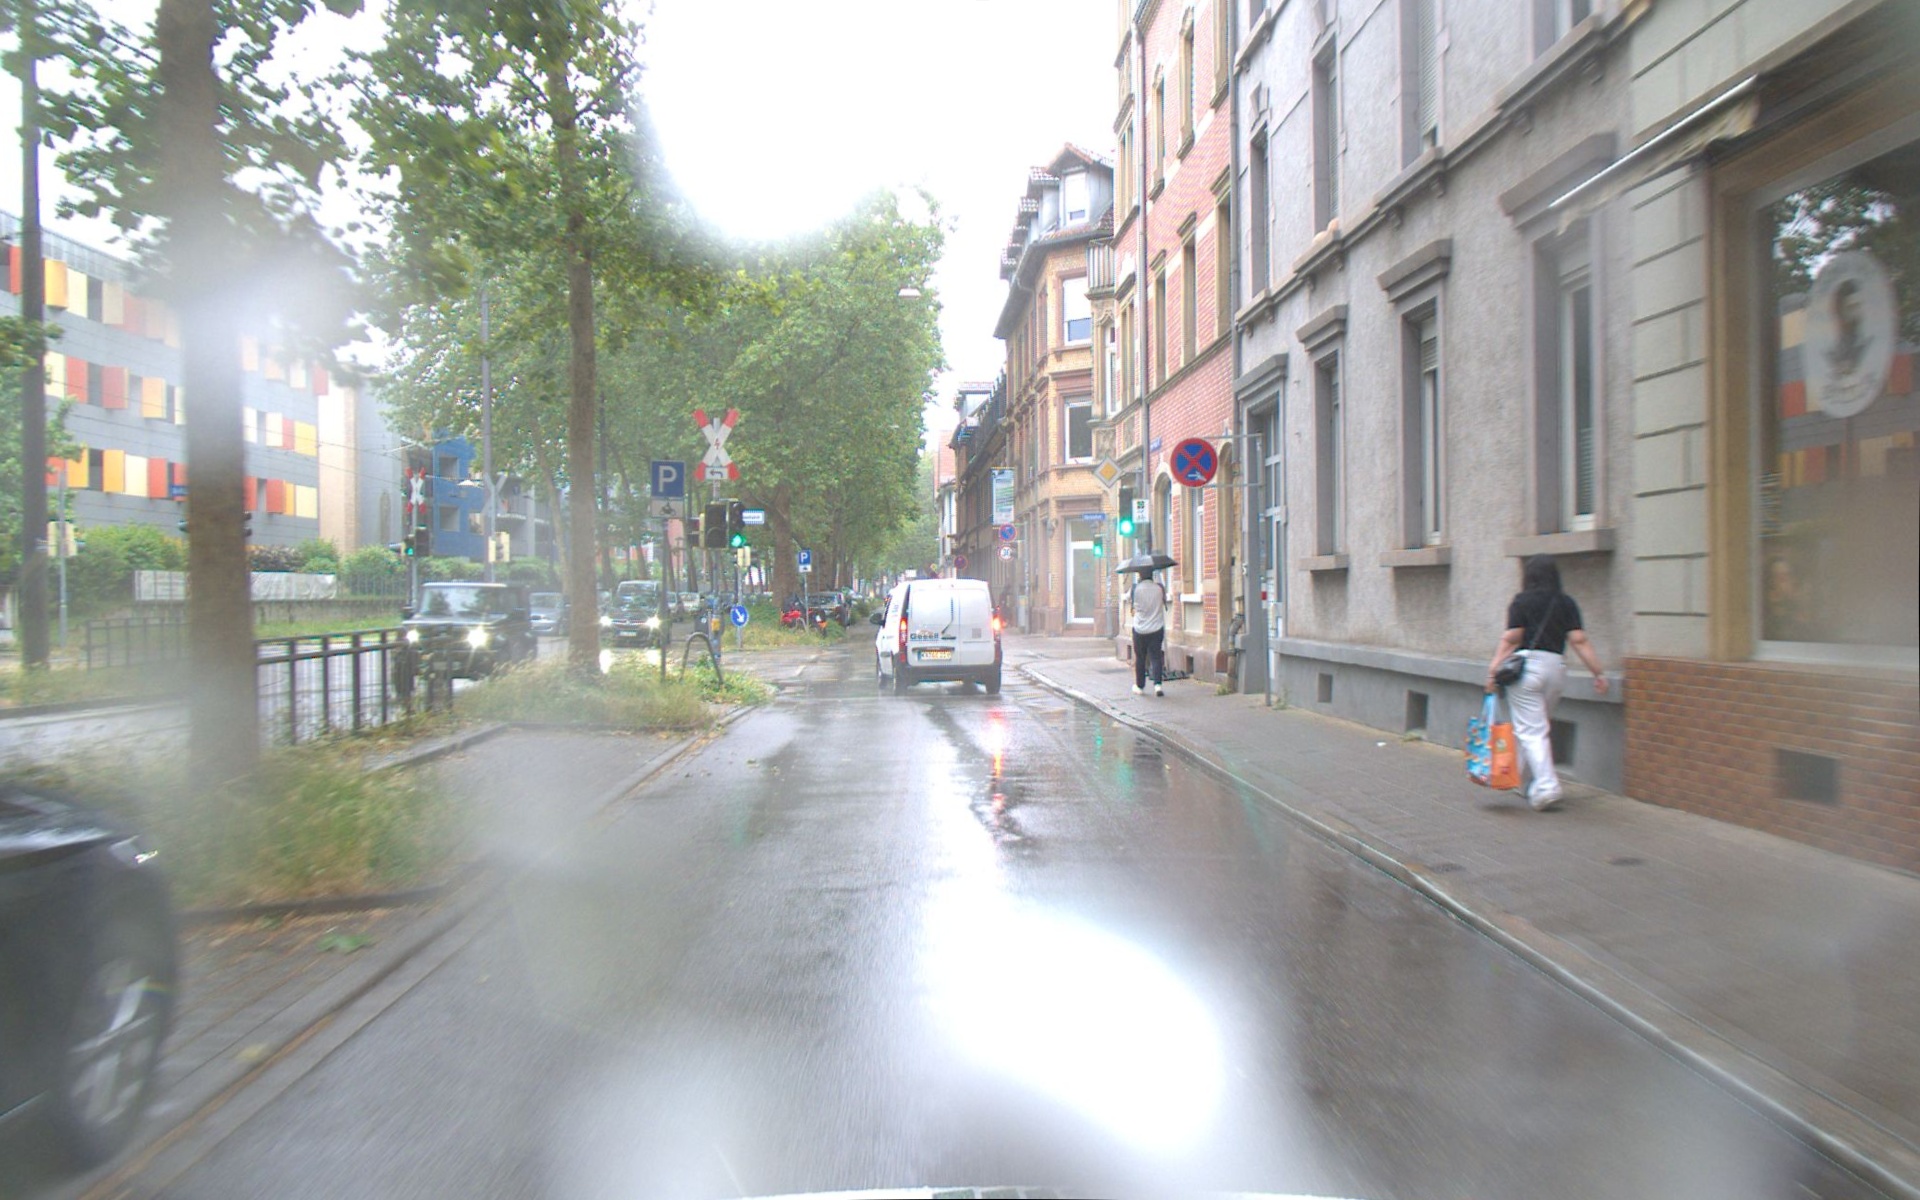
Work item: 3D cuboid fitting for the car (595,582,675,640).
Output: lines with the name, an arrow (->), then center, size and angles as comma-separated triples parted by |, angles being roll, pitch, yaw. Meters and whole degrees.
car -> -9.741, 0.303, 49.851 | 1.959, 1.641, 4.119 | 0, 0, -6

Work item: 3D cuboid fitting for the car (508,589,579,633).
car -> -14.007, 0.348, 55.789 | 1.957, 1.440, 3.992 | 0, 0, -9

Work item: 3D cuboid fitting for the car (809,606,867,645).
car -> -4.635, 0.945, 63.255 | 1.953, 1.411, 3.999 | 0, 0, -1

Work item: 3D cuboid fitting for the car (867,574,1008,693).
car -> -0.456, 0.551, 27.623 | 1.868, 1.829, 4.106 | 0, -1, -8

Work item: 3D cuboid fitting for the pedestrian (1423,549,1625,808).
pedestrian -> 3.618, 0.475, 10.702 | 0.823, 1.538, 1.107 | -3, 0, -2

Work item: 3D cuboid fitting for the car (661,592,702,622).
car -> -15.732, 0.364, 93.535 | 1.959, 1.641, 4.119 | 0, 0, -6

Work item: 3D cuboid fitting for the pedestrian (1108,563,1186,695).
pedestrian -> 2.601, 0.389, 23.160 | 0.823, 1.746, 1.107 | -4, 0, -2

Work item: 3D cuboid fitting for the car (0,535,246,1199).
car -> -2.851, 0.605, 2.789 | 1.616, 1.527, 4.117 | 1, 0, -2

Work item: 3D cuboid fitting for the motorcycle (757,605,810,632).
motorcycle -> -5.832, 0.616, 54.679 | 1.670, 0.880, 0.577 | 0, 0, 3

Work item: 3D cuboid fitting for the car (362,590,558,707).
car -> -7.546, 0.674, 25.363 | 1.958, 1.641, 3.998 | 0, 0, -3
